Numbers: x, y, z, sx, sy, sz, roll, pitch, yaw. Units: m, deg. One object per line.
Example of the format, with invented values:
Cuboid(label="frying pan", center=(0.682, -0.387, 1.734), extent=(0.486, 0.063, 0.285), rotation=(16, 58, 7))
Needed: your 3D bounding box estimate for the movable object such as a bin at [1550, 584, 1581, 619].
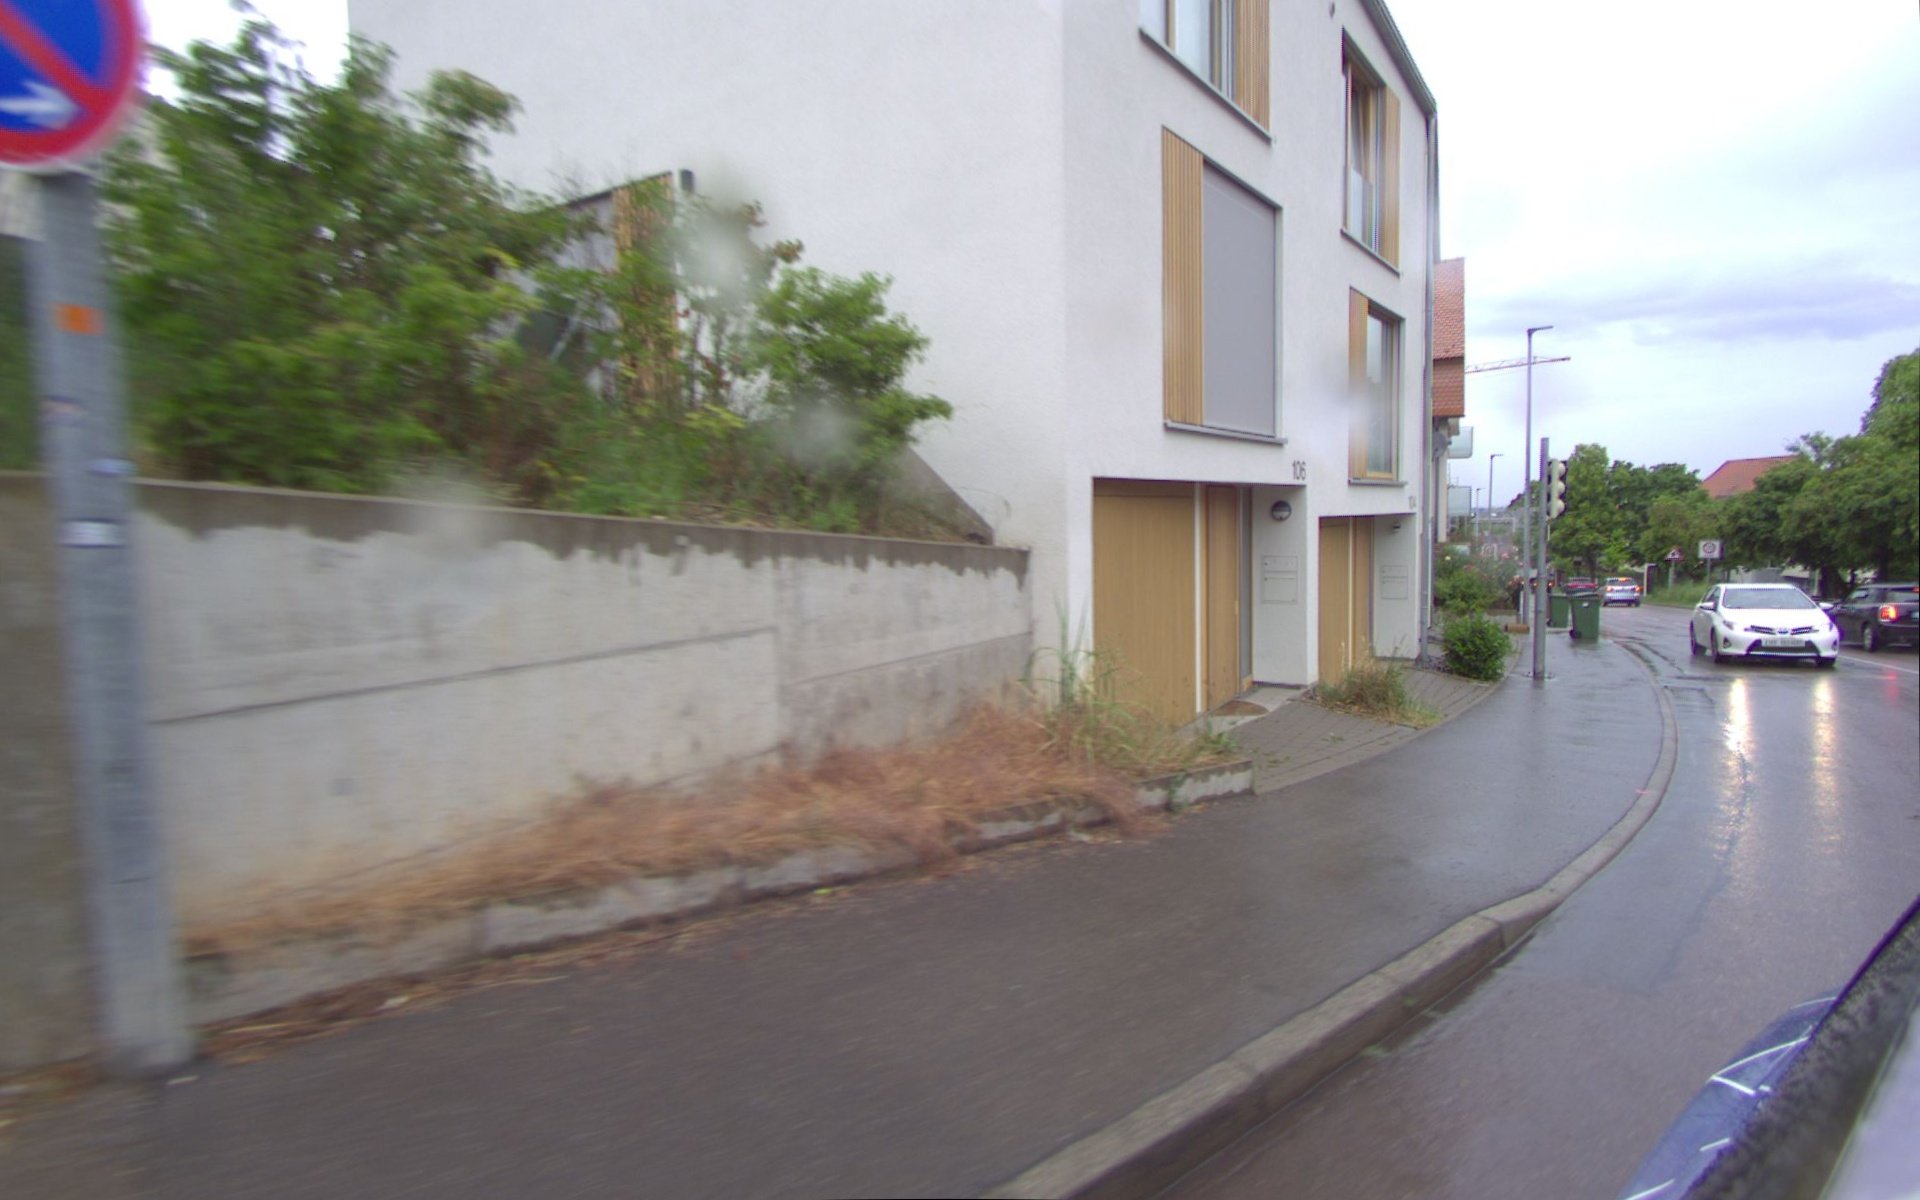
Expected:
Cuboid(label="movable object such as a bin", center=(19.403, 0.040, 32.434), extent=(0.792, 1.083, 0.753), rotation=(0, 1, 28))

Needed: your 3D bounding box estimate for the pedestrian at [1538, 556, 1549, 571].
Cuboid(label="pedestrian", center=(73.293, -4.618, 127.098), extent=(0.958, 1.853, 0.890), rotation=(-1, 1, 18))

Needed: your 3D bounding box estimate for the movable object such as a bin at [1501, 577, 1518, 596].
Cuboid(label="movable object such as a bin", center=(33.020, -0.819, 60.817), extent=(0.908, 1.117, 0.695), rotation=(0, 1, 29))

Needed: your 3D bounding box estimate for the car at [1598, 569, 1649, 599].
Cuboid(label="car", center=(36.633, -0.910, 55.973), extent=(1.791, 1.573, 3.798), rotation=(0, 1, 25))

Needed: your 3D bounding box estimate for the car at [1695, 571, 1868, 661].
Cuboid(label="car", center=(15.349, 0.231, 19.138), extent=(1.844, 1.453, 3.977), rotation=(-1, 2, 29))

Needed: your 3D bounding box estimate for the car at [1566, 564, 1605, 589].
Cuboid(label="car", center=(46.028, -1.711, 74.568), extent=(1.903, 1.644, 4.326), rotation=(-1, -1, 25))

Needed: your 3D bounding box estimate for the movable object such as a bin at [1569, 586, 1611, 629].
Cuboid(label="movable object such as a bin", center=(16.071, 0.186, 25.841), extent=(0.830, 1.074, 0.743), rotation=(0, 1, 28))

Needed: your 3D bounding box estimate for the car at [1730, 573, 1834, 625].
Cuboid(label="car", center=(24.808, -0.074, 30.687), extent=(1.809, 1.440, 3.860), rotation=(0, 1, 29))

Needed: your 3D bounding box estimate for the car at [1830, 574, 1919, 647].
Cuboid(label="car", center=(20.168, 0.172, 21.505), extent=(1.665, 1.423, 3.645), rotation=(0, 1, 26))

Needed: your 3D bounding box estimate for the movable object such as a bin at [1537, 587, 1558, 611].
Cuboid(label="movable object such as a bin", center=(22.530, -0.026, 38.799), extent=(0.626, 0.908, 0.705), rotation=(0, 1, 27))
